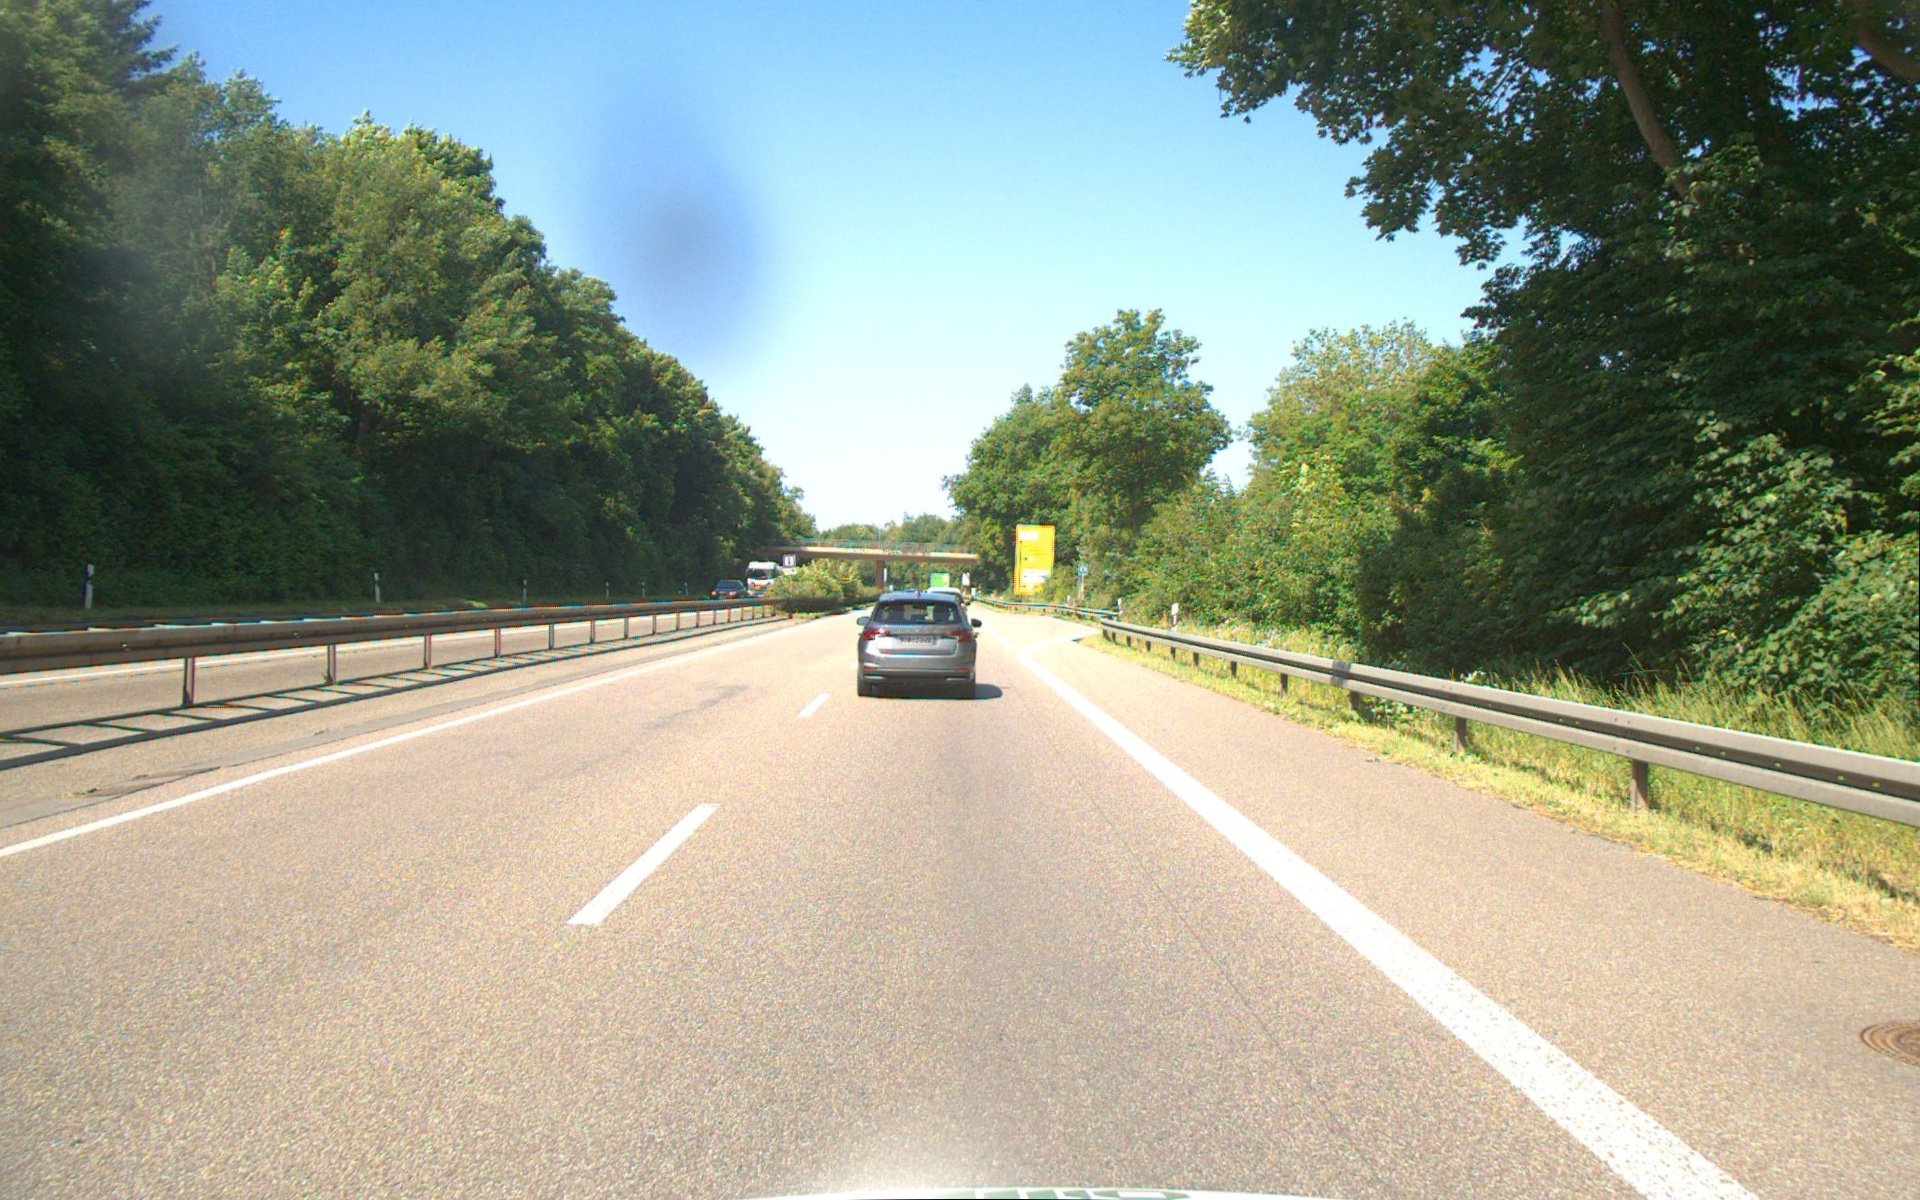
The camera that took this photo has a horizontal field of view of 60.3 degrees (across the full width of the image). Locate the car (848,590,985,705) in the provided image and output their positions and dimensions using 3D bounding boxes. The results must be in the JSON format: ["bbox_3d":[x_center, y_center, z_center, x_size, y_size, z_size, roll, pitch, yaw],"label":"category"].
[{"bbox_3d":[-0.562,0.625,23.997,1.802,1.497,3.624,1,1,1],"label":"car"}]

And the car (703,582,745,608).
[{"bbox_3d":[-14.730,-0.317,103.487,1.804,1.536,4.552,1,0,2],"label":"car"}]

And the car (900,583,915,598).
[{"bbox_3d":[-7.230,-1.322,229.892,1.953,2.049,3.999,1,0,-1],"label":"car"}]

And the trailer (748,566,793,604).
[{"bbox_3d":[-17.373,-1.342,152.505,2.442,3.292,14.430,1,0,0],"label":"trailer"}]

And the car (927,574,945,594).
[{"bbox_3d":[-3.495,-2.315,241.397,2.693,2.700,3.999,1,0,-1],"label":"car"}]

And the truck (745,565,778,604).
[{"bbox_3d":[-17.353,-1.359,145.100,2.375,3.315,3.999,1,0,-1],"label":"truck"}]

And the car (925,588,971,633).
[{"bbox_3d":[-0.380,0.336,57.246,1.491,1.472,3.340,1,1,1],"label":"car"}]
